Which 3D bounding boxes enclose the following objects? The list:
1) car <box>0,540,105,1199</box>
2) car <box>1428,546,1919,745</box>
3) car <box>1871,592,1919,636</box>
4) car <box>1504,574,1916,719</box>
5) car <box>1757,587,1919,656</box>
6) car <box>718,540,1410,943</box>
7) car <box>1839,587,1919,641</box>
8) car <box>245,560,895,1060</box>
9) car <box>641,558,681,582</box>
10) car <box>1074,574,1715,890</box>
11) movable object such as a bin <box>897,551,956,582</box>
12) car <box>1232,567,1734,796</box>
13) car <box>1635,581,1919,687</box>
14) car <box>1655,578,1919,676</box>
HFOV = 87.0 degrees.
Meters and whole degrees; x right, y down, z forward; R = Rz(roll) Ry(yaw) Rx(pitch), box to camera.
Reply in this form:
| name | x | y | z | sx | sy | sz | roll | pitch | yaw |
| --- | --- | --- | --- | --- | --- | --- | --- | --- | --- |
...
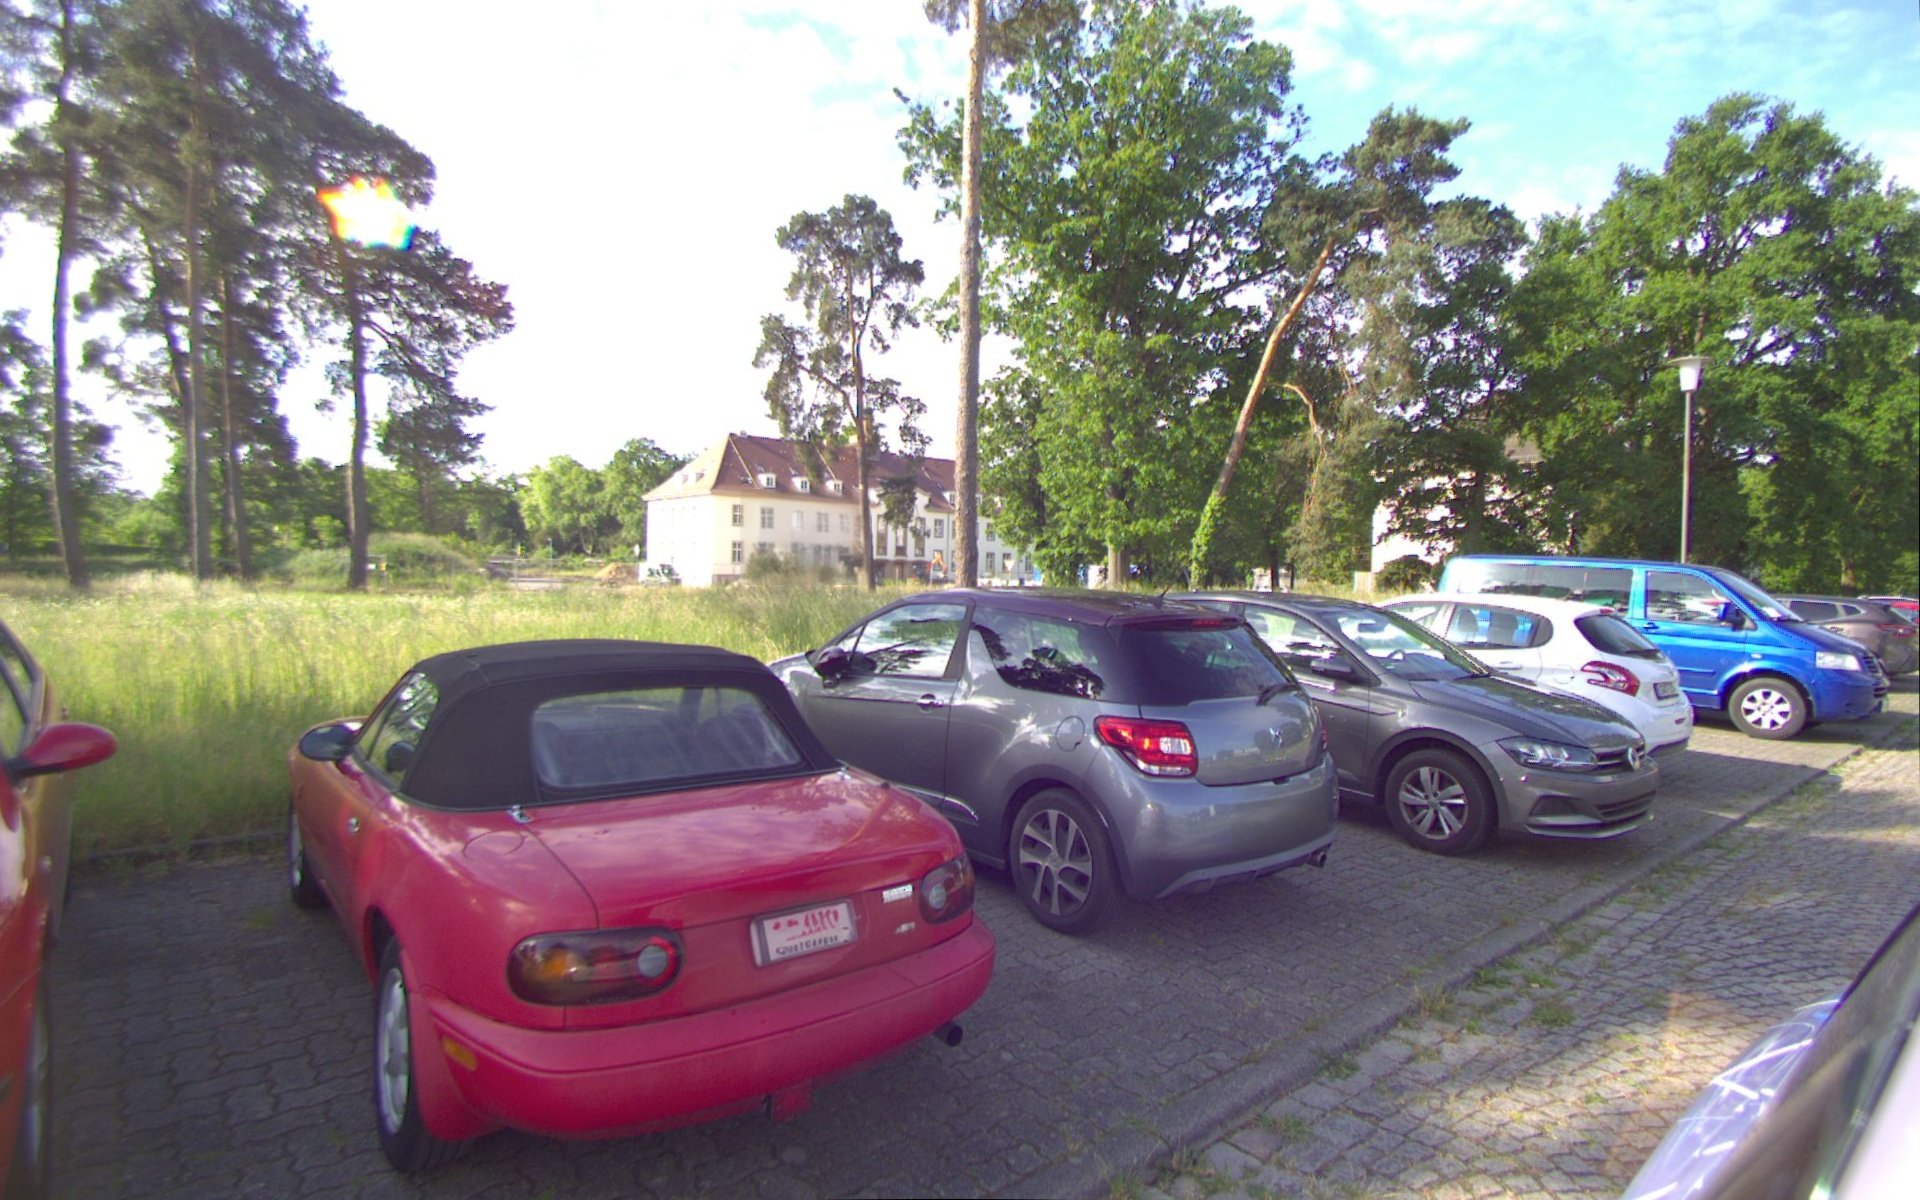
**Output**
| name | x | y | z | sx | sy | sz | roll | pitch | yaw |
| --- | --- | --- | --- | --- | --- | --- | --- | --- | --- |
| car | -3.189 | 0.595 | 2.466 | 1.607 | 1.466 | 4.138 | 1 | 3 | -39 |
| car | 8.733 | 0.366 | 12.748 | 1.965 | 1.959 | 4.709 | 0 | 3 | -40 |
| car | 34.123 | 0.580 | 34.684 | 1.754 | 1.440 | 4.095 | 1 | 3 | -41 |
| car | 10.572 | 0.520 | 14.556 | 1.905 | 1.596 | 4.408 | 0 | 3 | -40 |
| car | 22.774 | 0.537 | 25.371 | 1.821 | 1.477 | 4.095 | 1 | 3 | -41 |
| car | 0.299 | 0.452 | 5.795 | 1.784 | 1.466 | 3.716 | 1 | 3 | -40 |
| car | 30.509 | 0.490 | 31.829 | 1.821 | 1.576 | 4.095 | 1 | 3 | -41 |
| car | -2.096 | 0.513 | 4.691 | 1.715 | 1.238 | 3.717 | 1 | 3 | -40 |
| car | -29.208 | -2.896 | 98.836 | 1.967 | 2.240 | 4.422 | -1 | 0 | -44 |
| car | 2.810 | 0.645 | 7.178 | 1.823 | 1.466 | 3.717 | 1 | 3 | -40 |
| movable object such as a bin | -3.715 | -3.708 | 114.111 | 6.337 | 3.342 | 2.862 | -1 | 0 | 7 |
| car | 4.639 | 0.559 | 9.406 | 1.729 | 1.553 | 3.717 | 1 | 3 | -40 |
| car | 15.155 | 0.528 | 18.608 | 1.902 | 1.617 | 4.231 | -1 | 3 | -43 |
| car | 16.939 | 0.451 | 20.620 | 1.902 | 1.617 | 4.232 | -1 | 4 | -43 |
